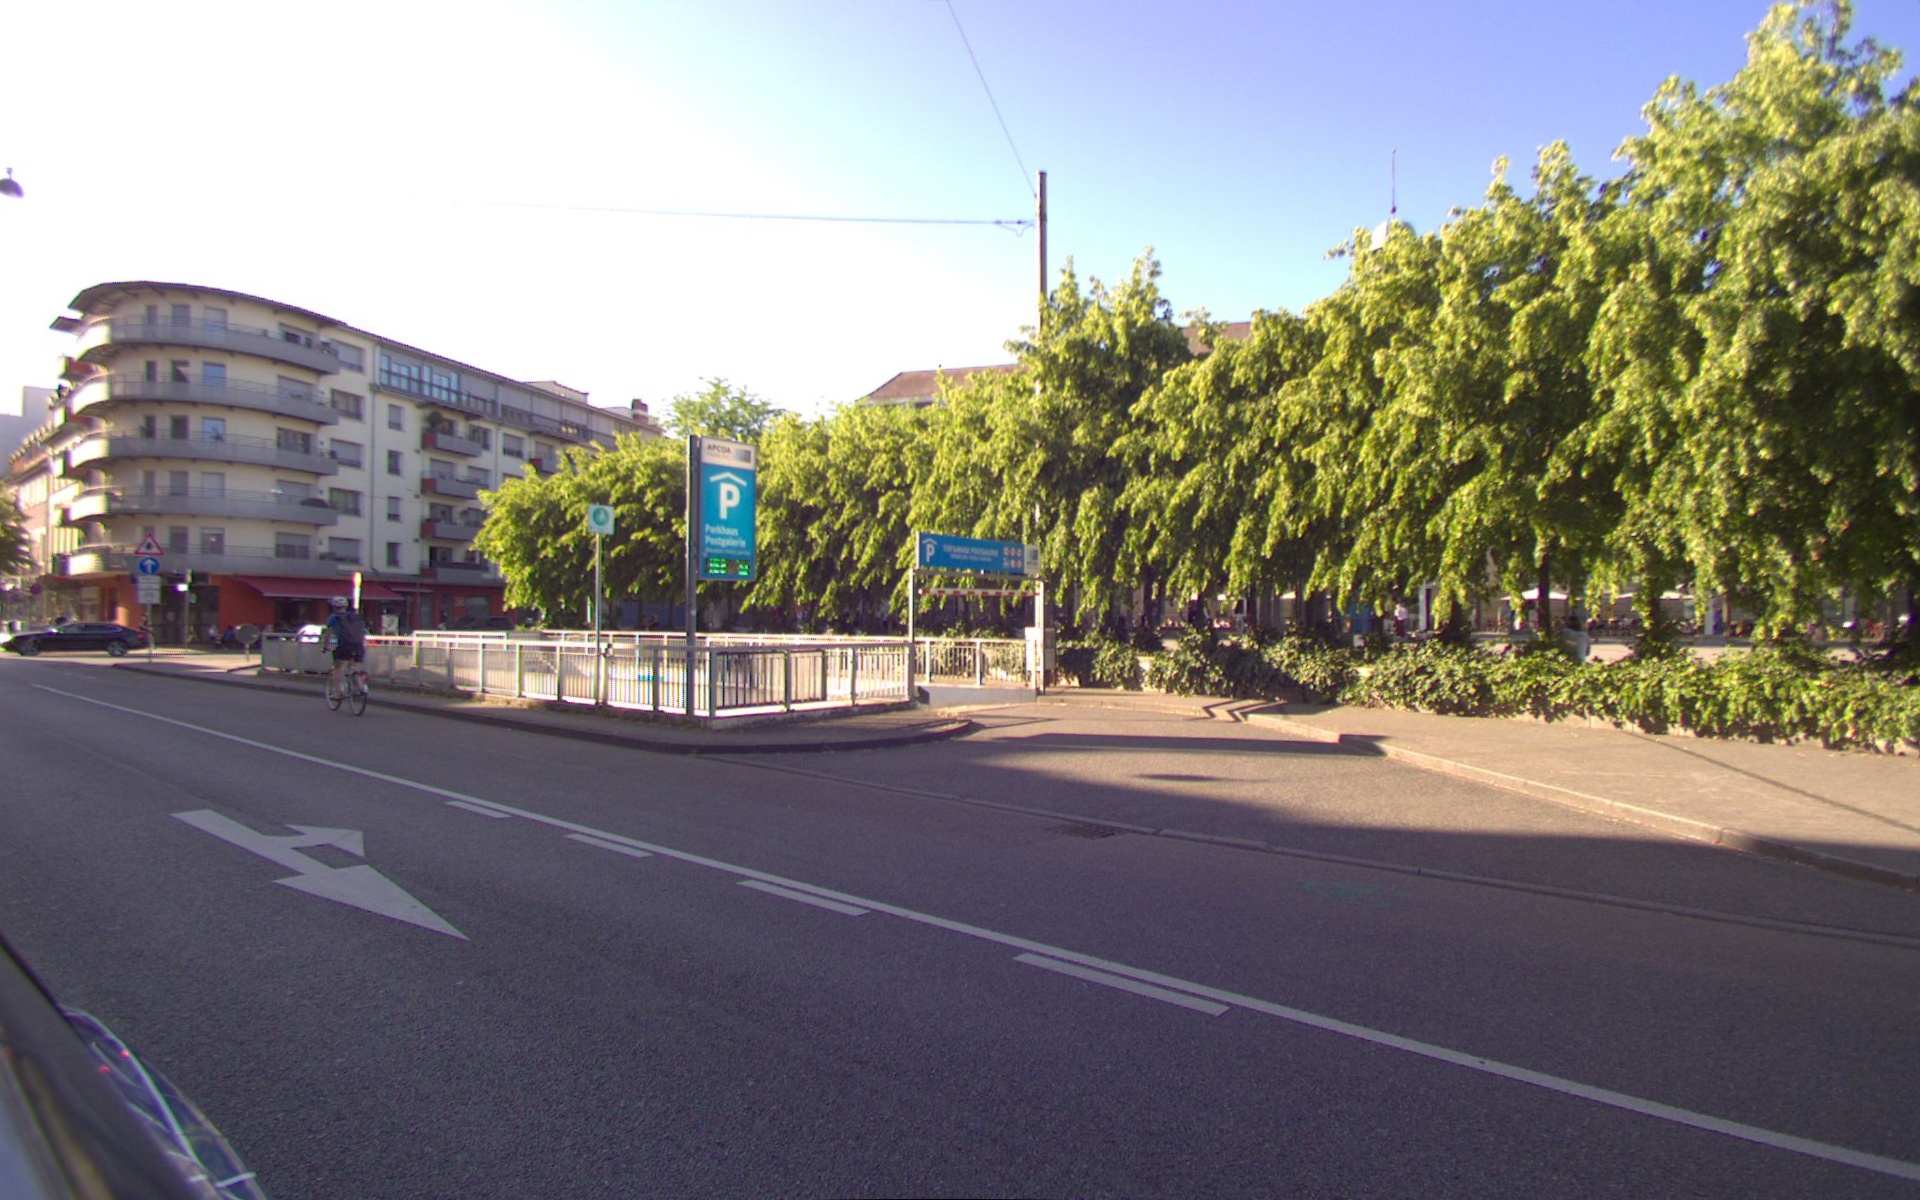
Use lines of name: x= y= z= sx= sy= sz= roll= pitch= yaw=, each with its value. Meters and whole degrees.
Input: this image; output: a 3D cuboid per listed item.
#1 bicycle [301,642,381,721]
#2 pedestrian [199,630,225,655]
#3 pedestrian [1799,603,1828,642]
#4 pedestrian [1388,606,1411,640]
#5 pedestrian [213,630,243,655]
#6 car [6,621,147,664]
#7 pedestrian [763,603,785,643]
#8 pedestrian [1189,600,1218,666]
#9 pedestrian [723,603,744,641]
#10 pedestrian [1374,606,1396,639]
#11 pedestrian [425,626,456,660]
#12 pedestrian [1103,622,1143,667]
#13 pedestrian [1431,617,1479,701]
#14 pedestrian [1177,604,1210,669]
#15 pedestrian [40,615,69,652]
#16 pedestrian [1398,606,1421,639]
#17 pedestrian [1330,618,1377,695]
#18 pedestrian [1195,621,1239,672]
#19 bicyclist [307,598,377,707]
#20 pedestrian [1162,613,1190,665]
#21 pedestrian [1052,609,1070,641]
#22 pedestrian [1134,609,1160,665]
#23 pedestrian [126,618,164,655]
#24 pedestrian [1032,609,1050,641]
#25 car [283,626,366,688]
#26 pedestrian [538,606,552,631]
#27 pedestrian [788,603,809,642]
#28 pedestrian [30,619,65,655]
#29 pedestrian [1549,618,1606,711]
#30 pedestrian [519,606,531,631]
bicycle: x=-10.124 y=1.294 z=16.517 sx=1.958 sy=1.171 sz=0.609 roll=-1 pitch=-3 yaw=44
pedestrian: x=-37.635 y=2.142 z=50.947 sx=0.882 sy=1.207 sz=0.772 roll=-1 pitch=0 yaw=30
pedestrian: x=33.730 y=0.886 z=39.994 sx=0.737 sy=1.542 sz=0.687 roll=-1 pitch=0 yaw=28
pedestrian: x=20.312 y=1.055 z=46.761 sx=0.672 sy=1.536 sz=0.696 roll=-1 pitch=0 yaw=-19
pedestrian: x=-36.815 y=2.131 z=50.902 sx=0.827 sy=1.207 sz=0.931 roll=-1 pitch=0 yaw=16
car: x=-35.934 y=1.698 z=41.319 sx=4.180 sy=1.542 sz=1.681 roll=-1 pitch=0 yaw=-36
pedestrian: x=-8.998 y=1.103 z=48.966 sx=0.681 sy=1.877 sz=0.741 roll=-1 pitch=0 yaw=27
pedestrian: x=6.006 y=0.807 z=24.957 sx=0.519 sy=1.594 sz=0.684 roll=-1 pitch=0 yaw=1
pedestrian: x=-11.225 y=1.105 z=50.176 sx=0.679 sy=1.857 sz=0.743 roll=-1 pitch=0 yaw=19
pedestrian: x=20.118 y=1.057 z=47.907 sx=0.673 sy=1.535 sz=0.695 roll=-1 pitch=0 yaw=-7
pedestrian: x=-27.073 y=2.229 z=52.742 sx=1.252 sy=1.678 sz=1.142 roll=-1 pitch=0 yaw=-40
pedestrian: x=4.040 y=1.091 z=25.054 sx=0.682 sy=1.079 sz=0.686 roll=-1 pitch=0 yaw=-29
pedestrian: x=8.752 y=1.026 z=17.901 sx=0.621 sy=1.447 sz=0.645 roll=-1 pitch=0 yaw=39
pedestrian: x=5.511 y=0.856 z=23.869 sx=0.688 sy=1.511 sz=0.680 roll=-1 pitch=0 yaw=19
pedestrian: x=-47.295 y=1.741 z=52.854 sx=0.790 sy=1.934 sz=0.978 roll=-1 pitch=0 yaw=37
pedestrian: x=21.026 y=1.045 z=47.378 sx=0.672 sy=1.542 sz=0.696 roll=-1 pitch=0 yaw=-18
pedestrian: x=7.526 y=1.061 z=19.348 sx=0.622 sy=1.409 sz=0.644 roll=-1 pitch=0 yaw=44
pedestrian: x=5.704 y=1.029 z=22.456 sx=0.682 sy=1.079 sz=0.686 roll=-1 pitch=0 yaw=-13
bicyclist: x=-10.079 y=0.843 z=16.502 sx=0.809 sy=1.722 sz=0.694 roll=-1 pitch=-3 yaw=39
pedestrian: x=5.287 y=0.948 z=24.792 sx=0.594 sy=1.250 sz=0.568 roll=-1 pitch=0 yaw=5
pedestrian: x=4.476 y=1.107 z=44.820 sx=0.684 sy=1.385 sz=0.684 roll=-1 pitch=0 yaw=1
pedestrian: x=4.776 y=0.928 z=25.783 sx=0.545 sy=1.385 sz=0.680 roll=-1 pitch=0 yaw=19
pedestrian: x=-39.633 y=1.749 z=49.209 sx=0.952 sy=1.762 sz=1.058 roll=-1 pitch=0 yaw=10
pedestrian: x=3.581 y=1.119 z=44.857 sx=0.752 sy=1.385 sz=0.684 roll=-1 pitch=0 yaw=1
car: x=-17.864 y=1.533 z=28.391 sx=1.612 sy=1.542 sz=3.916 roll=-1 pitch=0 yaw=-37
pedestrian: x=-31.157 y=1.402 z=75.928 sx=0.684 sy=1.857 sz=0.737 roll=-1 pitch=0 yaw=41
pedestrian: x=-7.955 y=1.099 z=49.822 sx=0.681 sy=1.857 sz=0.741 roll=-1 pitch=0 yaw=27
pedestrian: x=-44.430 y=1.782 z=49.271 sx=1.078 sy=1.732 sz=1.057 roll=-1 pitch=0 yaw=35
pedestrian: x=9.808 y=1.012 z=16.092 sx=0.611 sy=1.447 sz=0.588 roll=-1 pitch=0 yaw=14
pedestrian: x=-33.868 y=1.437 z=78.810 sx=0.736 sy=1.857 sz=0.685 roll=-1 pitch=0 yaw=-9
